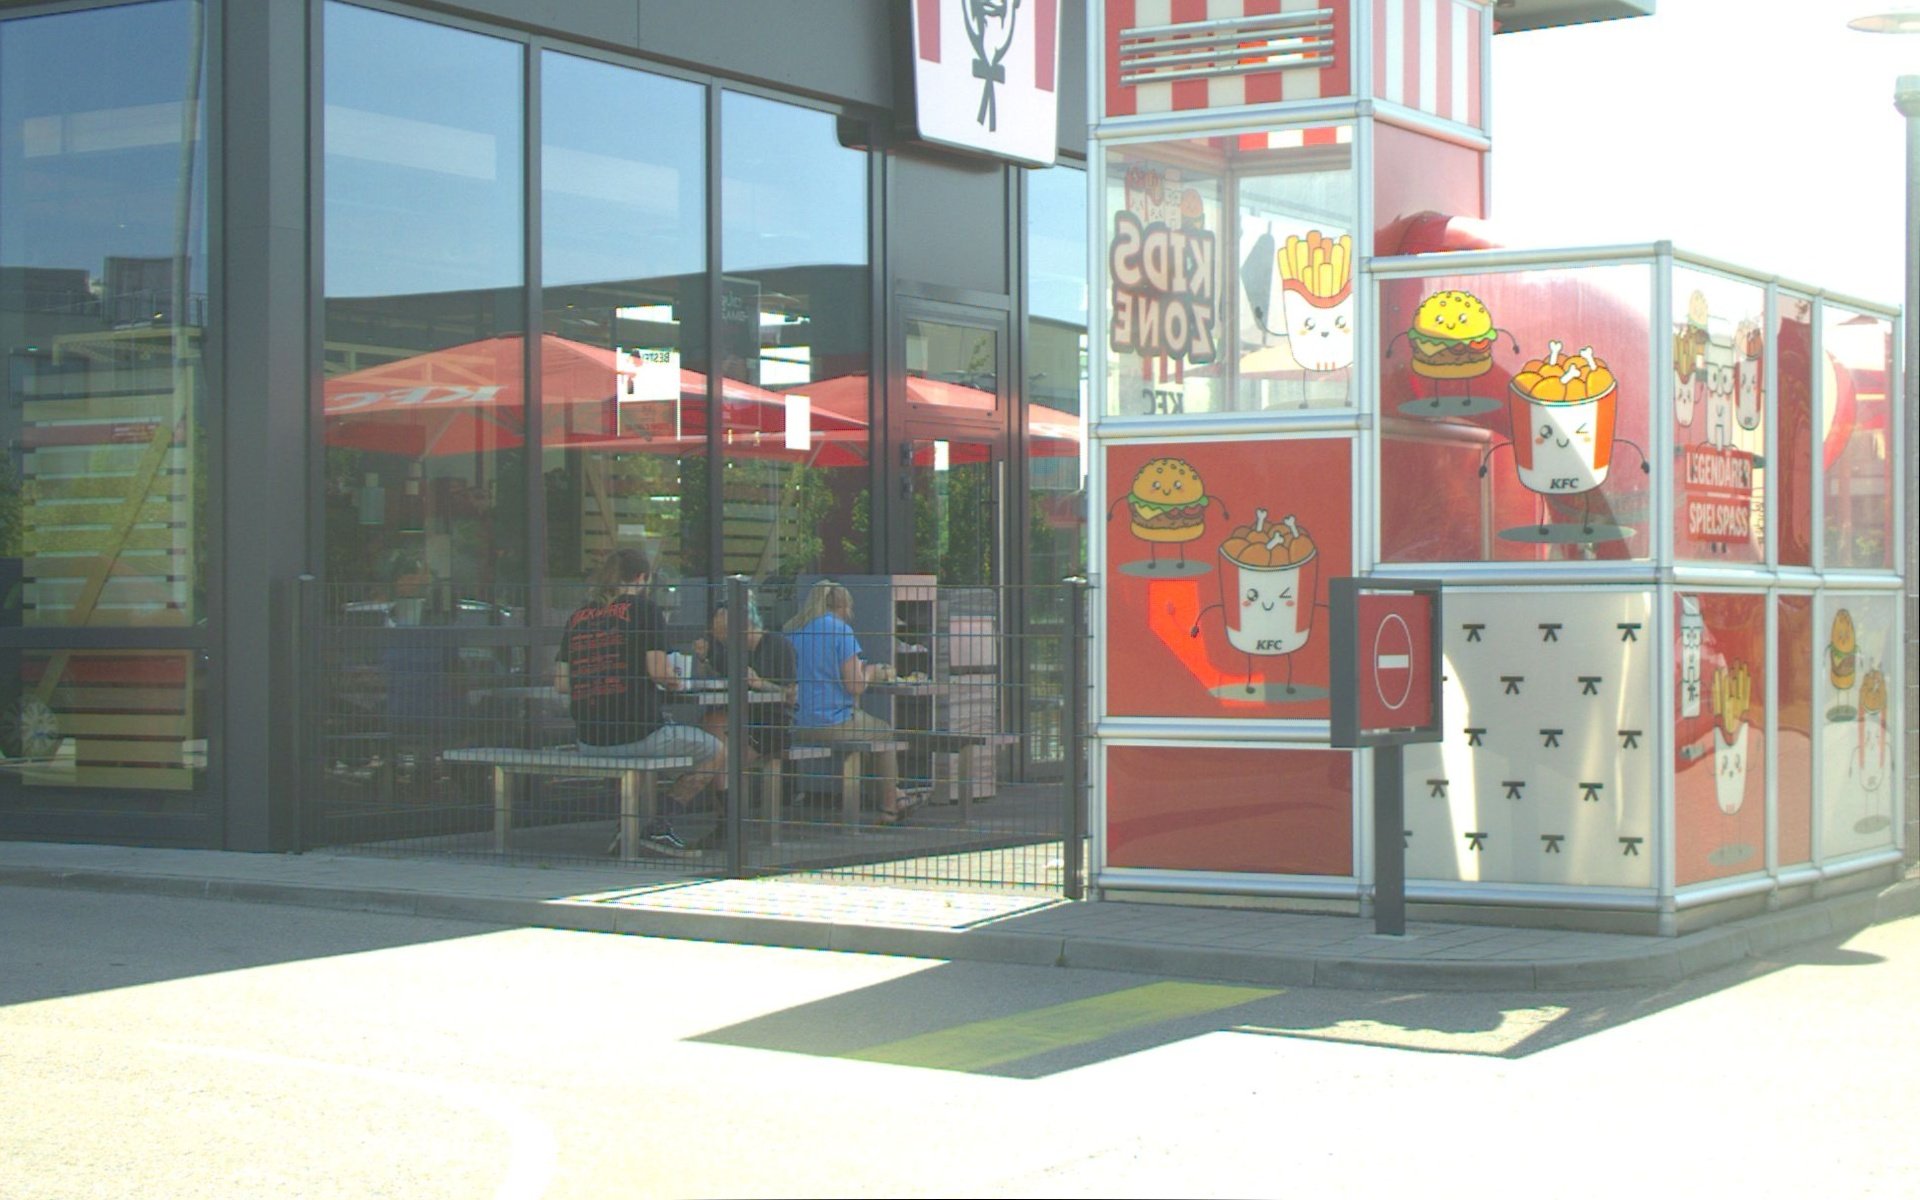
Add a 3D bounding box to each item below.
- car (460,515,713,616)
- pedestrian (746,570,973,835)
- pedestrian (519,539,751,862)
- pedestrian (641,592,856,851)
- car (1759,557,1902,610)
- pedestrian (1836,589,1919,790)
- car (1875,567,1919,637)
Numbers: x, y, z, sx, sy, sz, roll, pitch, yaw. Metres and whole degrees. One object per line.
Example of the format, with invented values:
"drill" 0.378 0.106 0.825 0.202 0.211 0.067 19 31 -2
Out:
"car" -6.715 -0.598 62.108 1.894 1.697 4.321 0 -1 43
"pedestrian" -0.510 0.505 17.679 0.754 1.308 0.943 1 1 32
"pedestrian" -1.496 0.444 15.852 0.797 1.438 0.692 1 0 30
"pedestrian" -1.013 0.565 16.529 0.753 1.196 0.693 1 0 32
"car" 31.203 -0.597 123.273 4.566 1.849 1.952 1 1 31
"pedestrian" 6.023 0.570 22.204 0.684 1.269 0.551 1 0 15
"car" 26.950 0.058 92.904 4.273 1.849 2.000 0 1 -35
